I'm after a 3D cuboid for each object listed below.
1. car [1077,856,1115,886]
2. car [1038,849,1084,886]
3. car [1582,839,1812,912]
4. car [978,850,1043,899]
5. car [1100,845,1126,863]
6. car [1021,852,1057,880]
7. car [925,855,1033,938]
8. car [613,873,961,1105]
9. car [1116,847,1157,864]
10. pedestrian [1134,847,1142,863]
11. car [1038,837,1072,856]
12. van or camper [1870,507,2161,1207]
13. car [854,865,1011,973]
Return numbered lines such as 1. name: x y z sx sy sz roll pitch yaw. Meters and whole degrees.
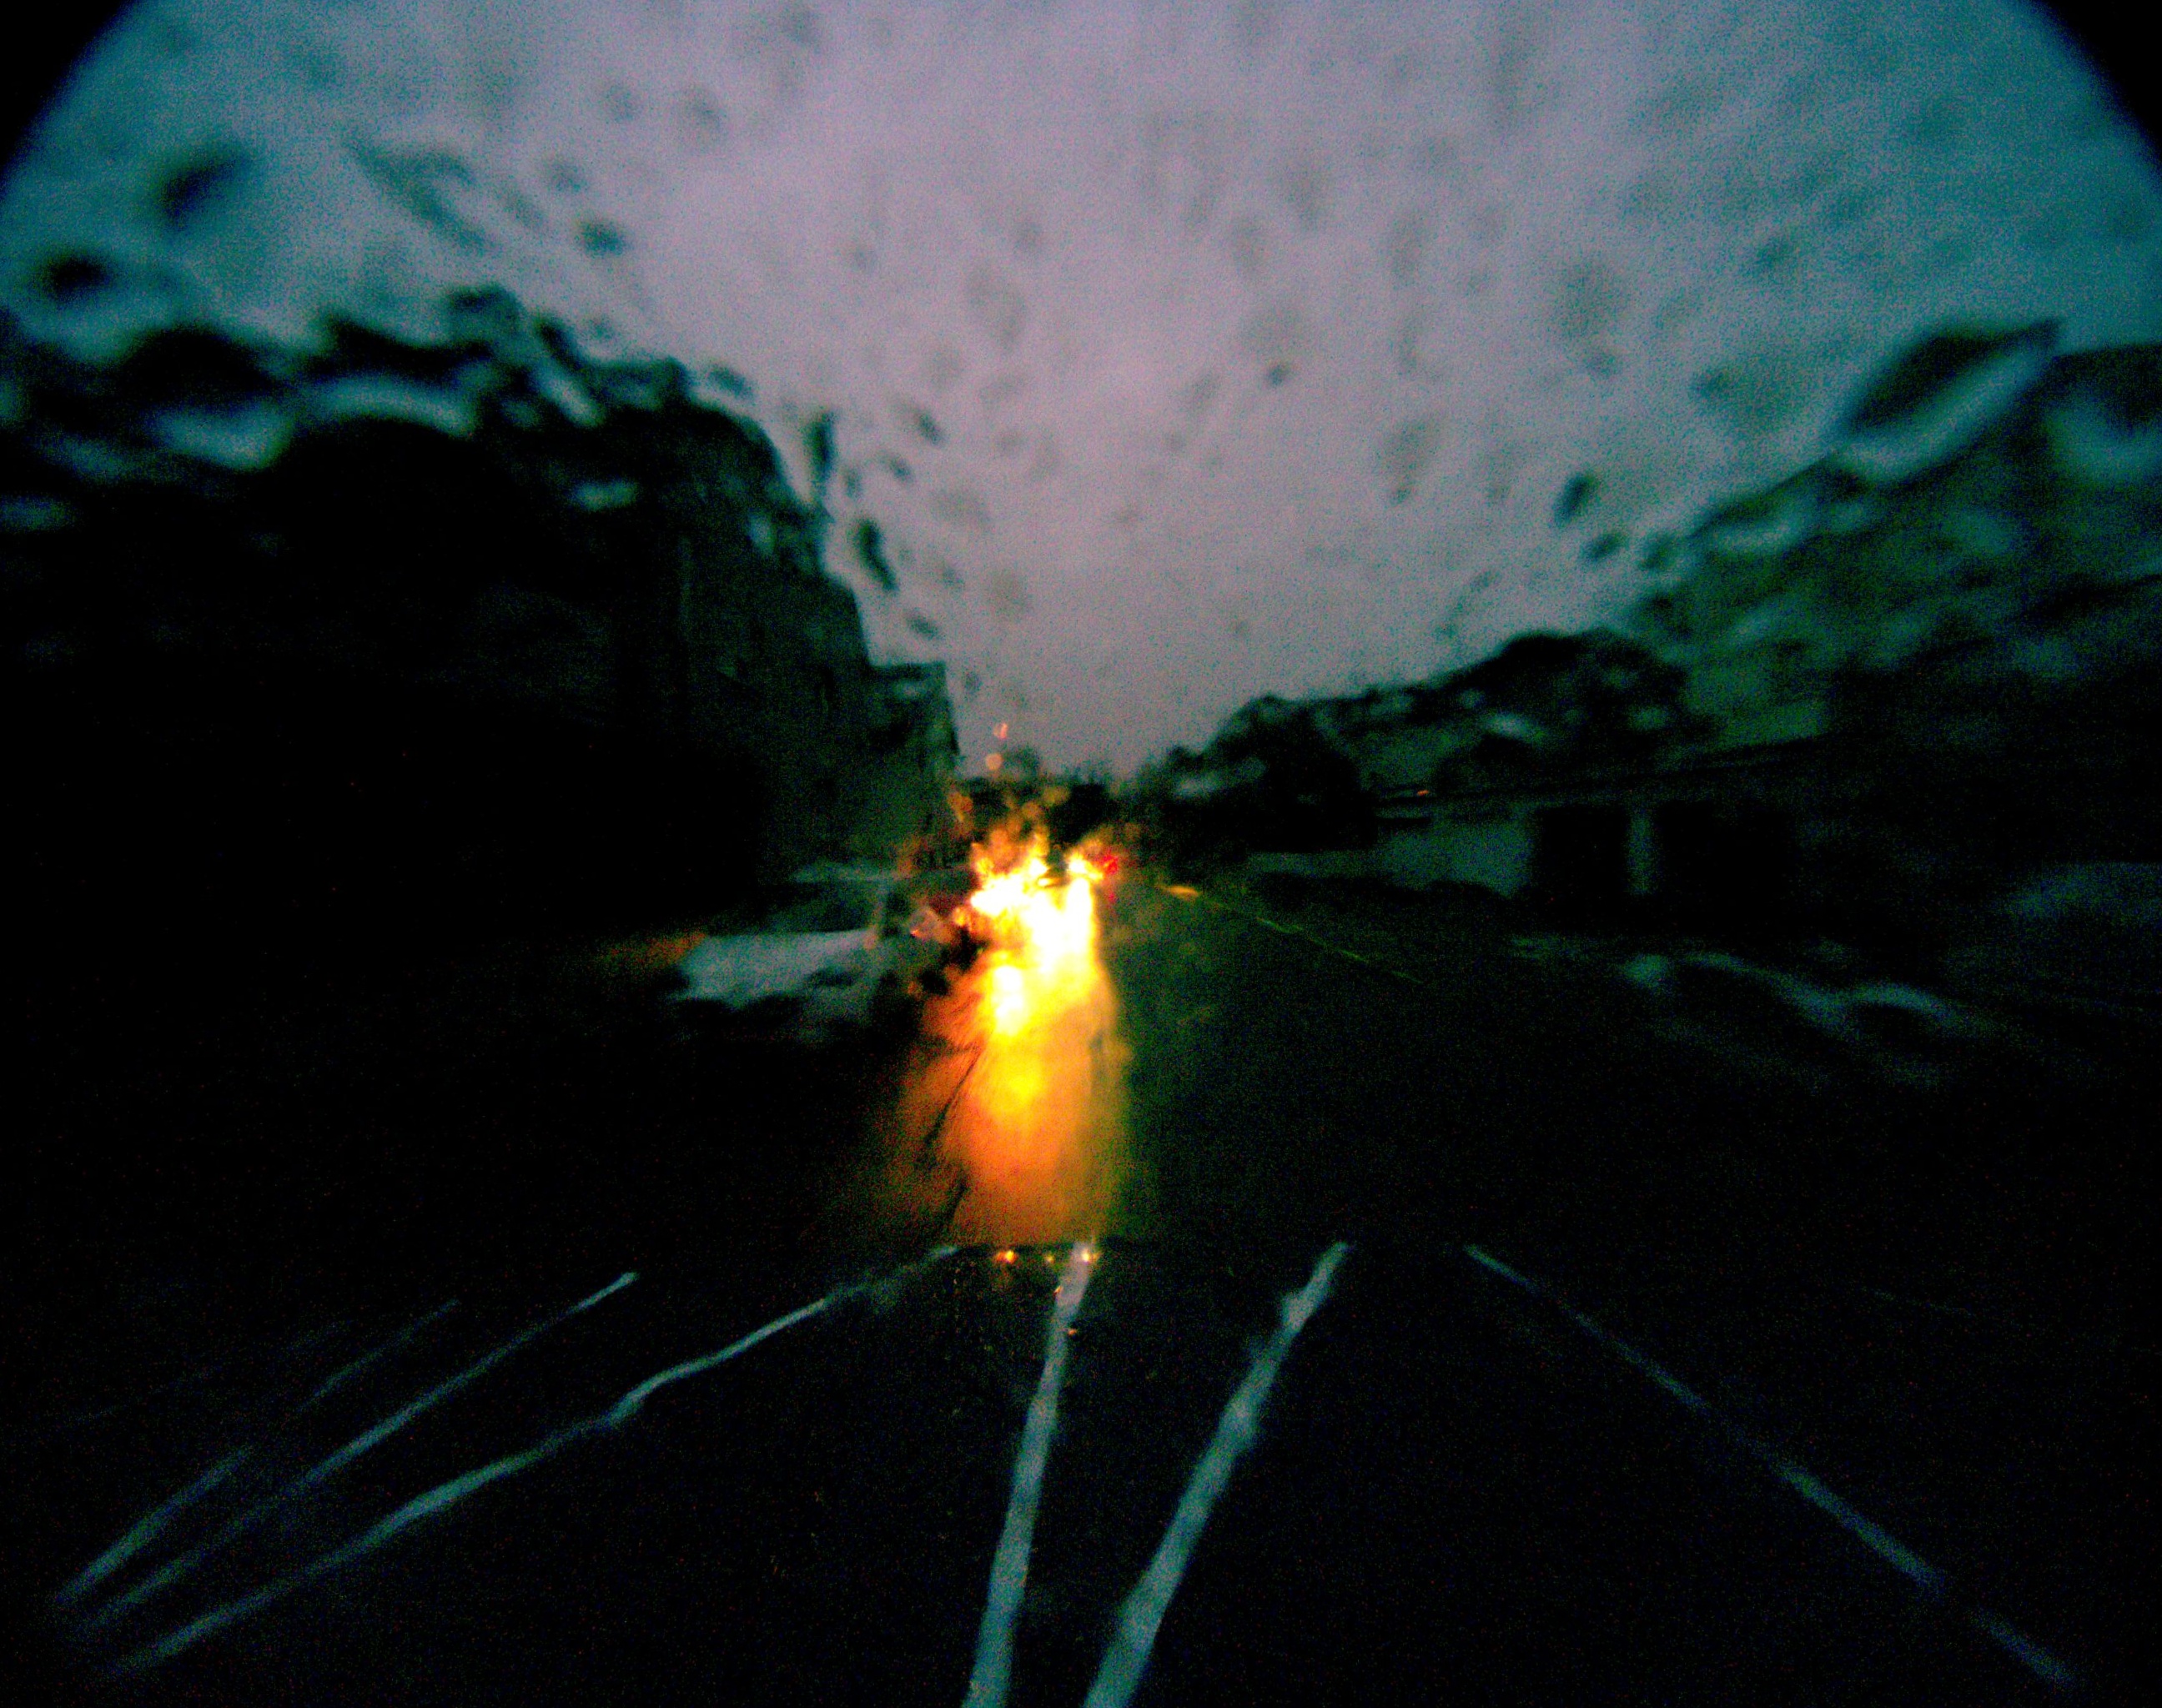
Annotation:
1. car: 0.817 0.922 43.093 1.991 1.489 4.235 -2 1 0
2. car: -0.965 0.576 35.334 1.991 1.549 4.234 -2 1 -2
3. car: 13.434 0.425 16.643 4.001 1.395 1.759 -2 1 -11
4. car: -2.537 0.693 28.251 1.991 1.638 4.235 -2 1 0
5. car: 2.989 -0.021 71.920 1.755 1.652 3.997 -2 1 -8
6. car: -2.591 0.708 46.062 1.992 1.549 4.233 -2 1 -5
7. car: -2.193 0.859 17.496 1.814 1.530 4.303 -2 1 1
8. car: -2.412 1.004 7.522 1.647 1.469 4.371 -2 0 1
9. car: 5.768 0.137 78.374 3.993 1.652 1.757 -1 1 12
10. pedestrian: 5.345 0.076 71.284 0.591 1.463 0.581 -3 1 0
11. car: -2.840 -0.756 81.266 1.855 1.873 4.875 -2 1 -25
12. van or camper: 7.548 0.056 2.977 6.071 2.925 2.324 1 1 5
13. car: -2.309 0.958 12.949 1.739 1.398 4.304 -2 0 1
